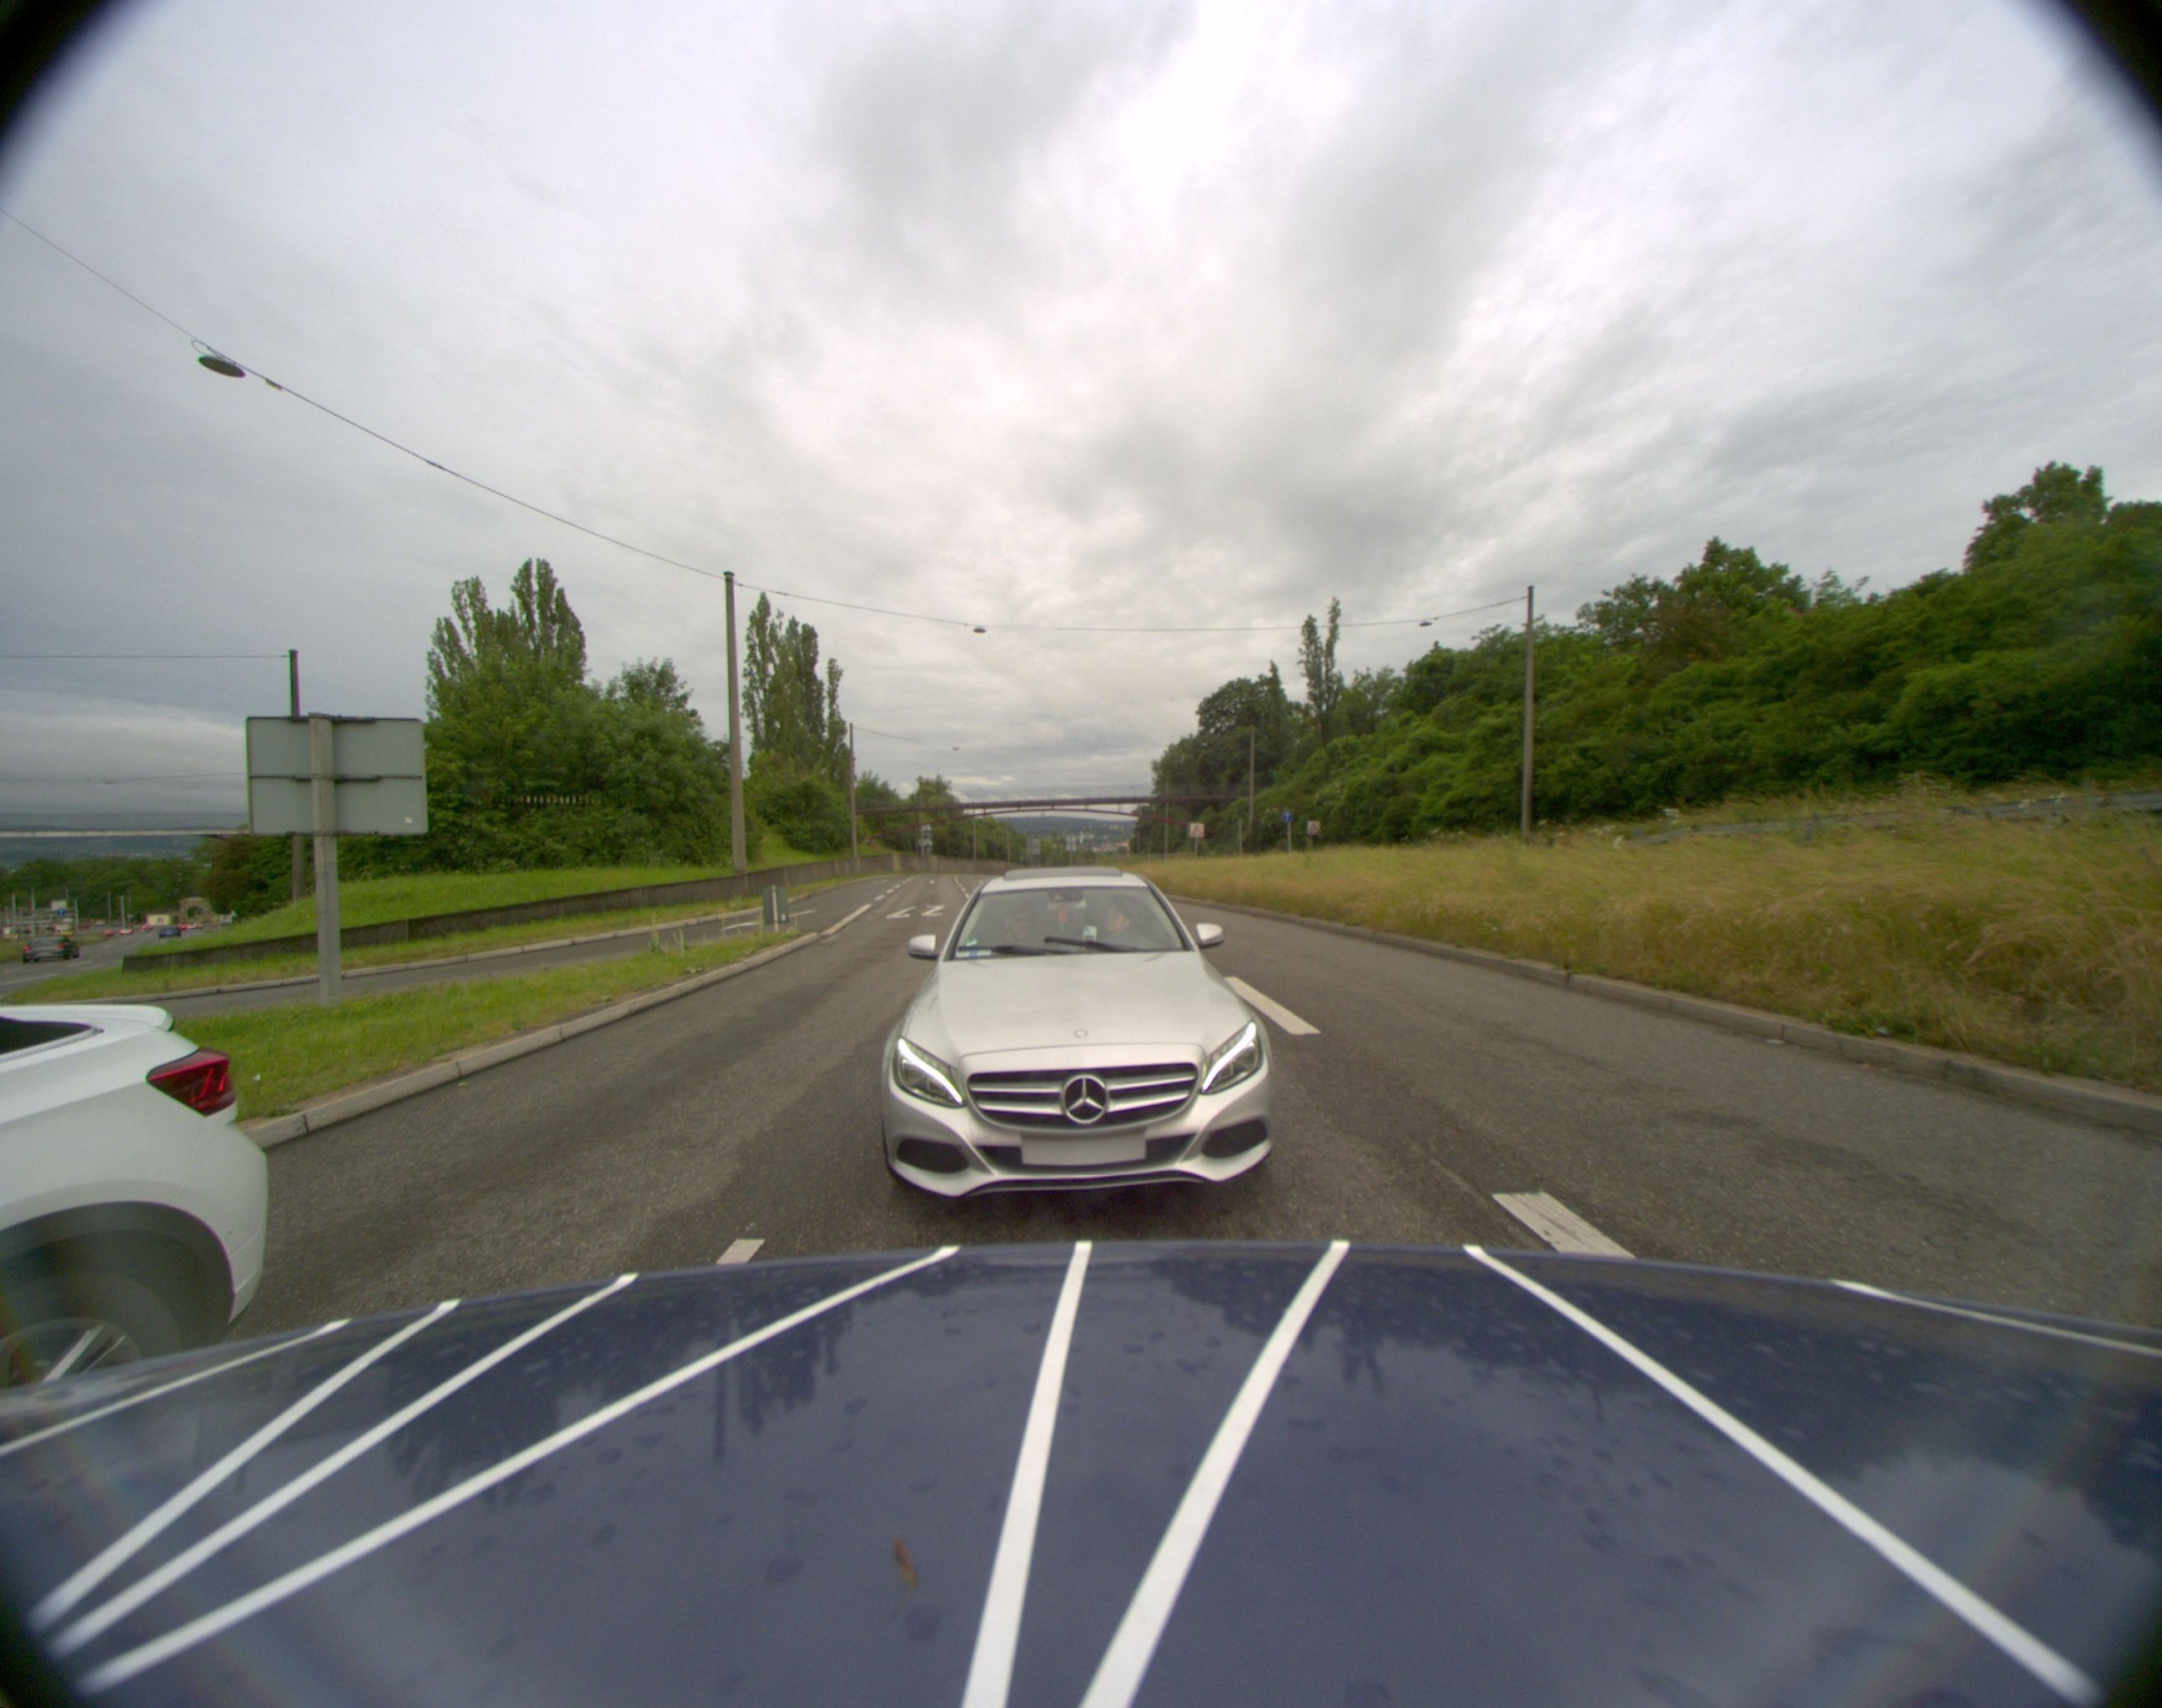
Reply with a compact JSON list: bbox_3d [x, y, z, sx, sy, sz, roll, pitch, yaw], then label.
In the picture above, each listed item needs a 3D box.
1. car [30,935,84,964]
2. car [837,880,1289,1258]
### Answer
[{"bbox_3d":[-62.160,5.757,46.151,4.071,1.412,1.688,-4,0,39],"label":"car"},{"bbox_3d":[-0.101,0.988,5.312,1.895,1.361,4.133,-2,1,-1],"label":"car"}]
